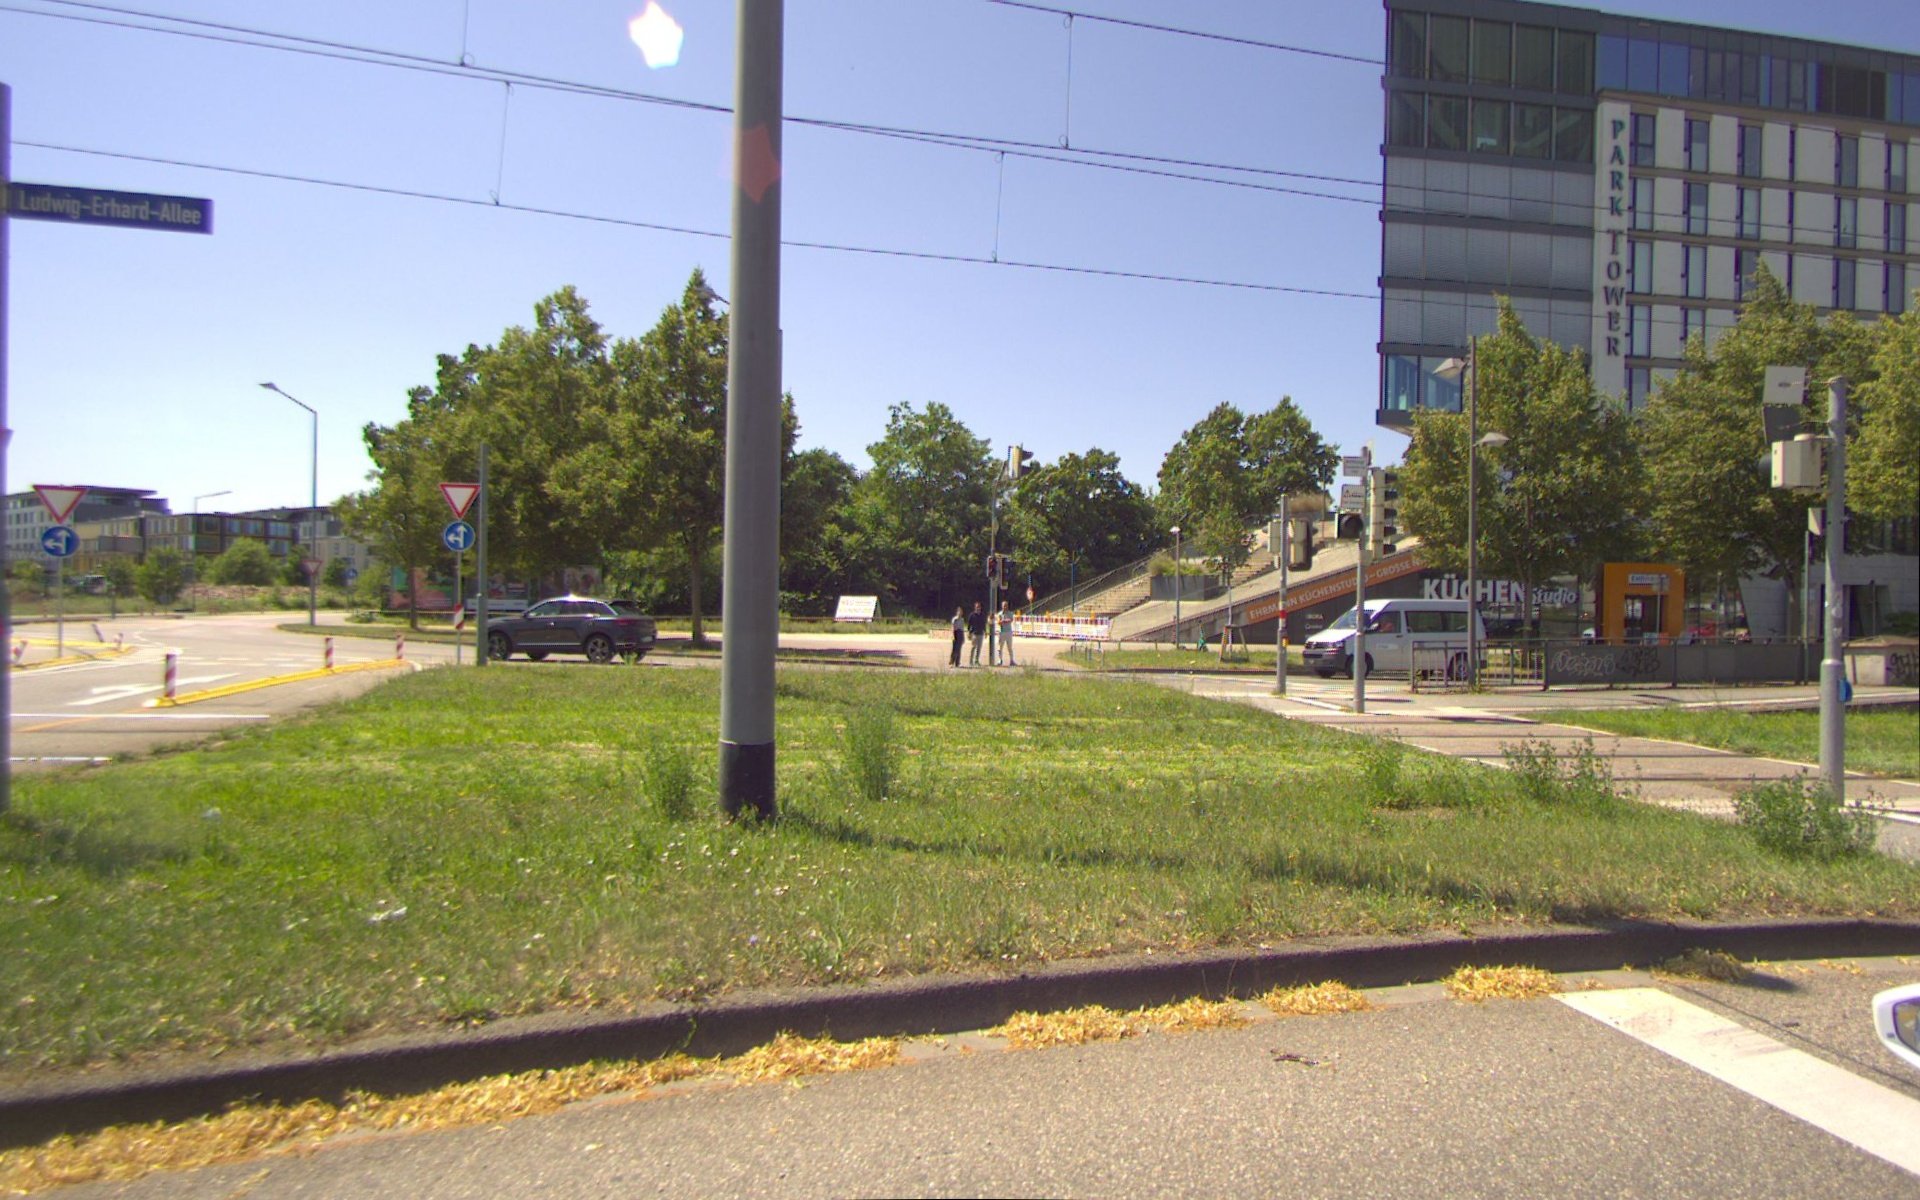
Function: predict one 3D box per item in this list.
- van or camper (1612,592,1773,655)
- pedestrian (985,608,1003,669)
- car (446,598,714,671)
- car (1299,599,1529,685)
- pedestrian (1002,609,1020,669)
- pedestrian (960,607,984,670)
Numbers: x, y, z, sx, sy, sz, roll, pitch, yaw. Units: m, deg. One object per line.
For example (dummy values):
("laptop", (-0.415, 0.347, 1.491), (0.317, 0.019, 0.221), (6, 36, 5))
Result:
("van or camper", (35.519, 1.146, 48.758), (6.667, 2.860, 2.378), (1, 0, -11))
("pedestrian", (0.990, 1.128, 29.376), (0.441, 1.762, 0.291), (1, 0, -10))
("car", (-9.054, 0.799, 24.172), (5.718, 1.538, 2.001), (1, 0, 7))
("car", (12.224, 1.115, 27.196), (5.440, 2.134, 1.997), (1, 0, -8))
("pedestrian", (1.491, 1.148, 29.527), (0.441, 1.762, 0.291), (1, 0, -10))
("pedestrian", (0.342, 1.082, 28.532), (0.589, 1.762, 0.341), (1, 0, -10))
